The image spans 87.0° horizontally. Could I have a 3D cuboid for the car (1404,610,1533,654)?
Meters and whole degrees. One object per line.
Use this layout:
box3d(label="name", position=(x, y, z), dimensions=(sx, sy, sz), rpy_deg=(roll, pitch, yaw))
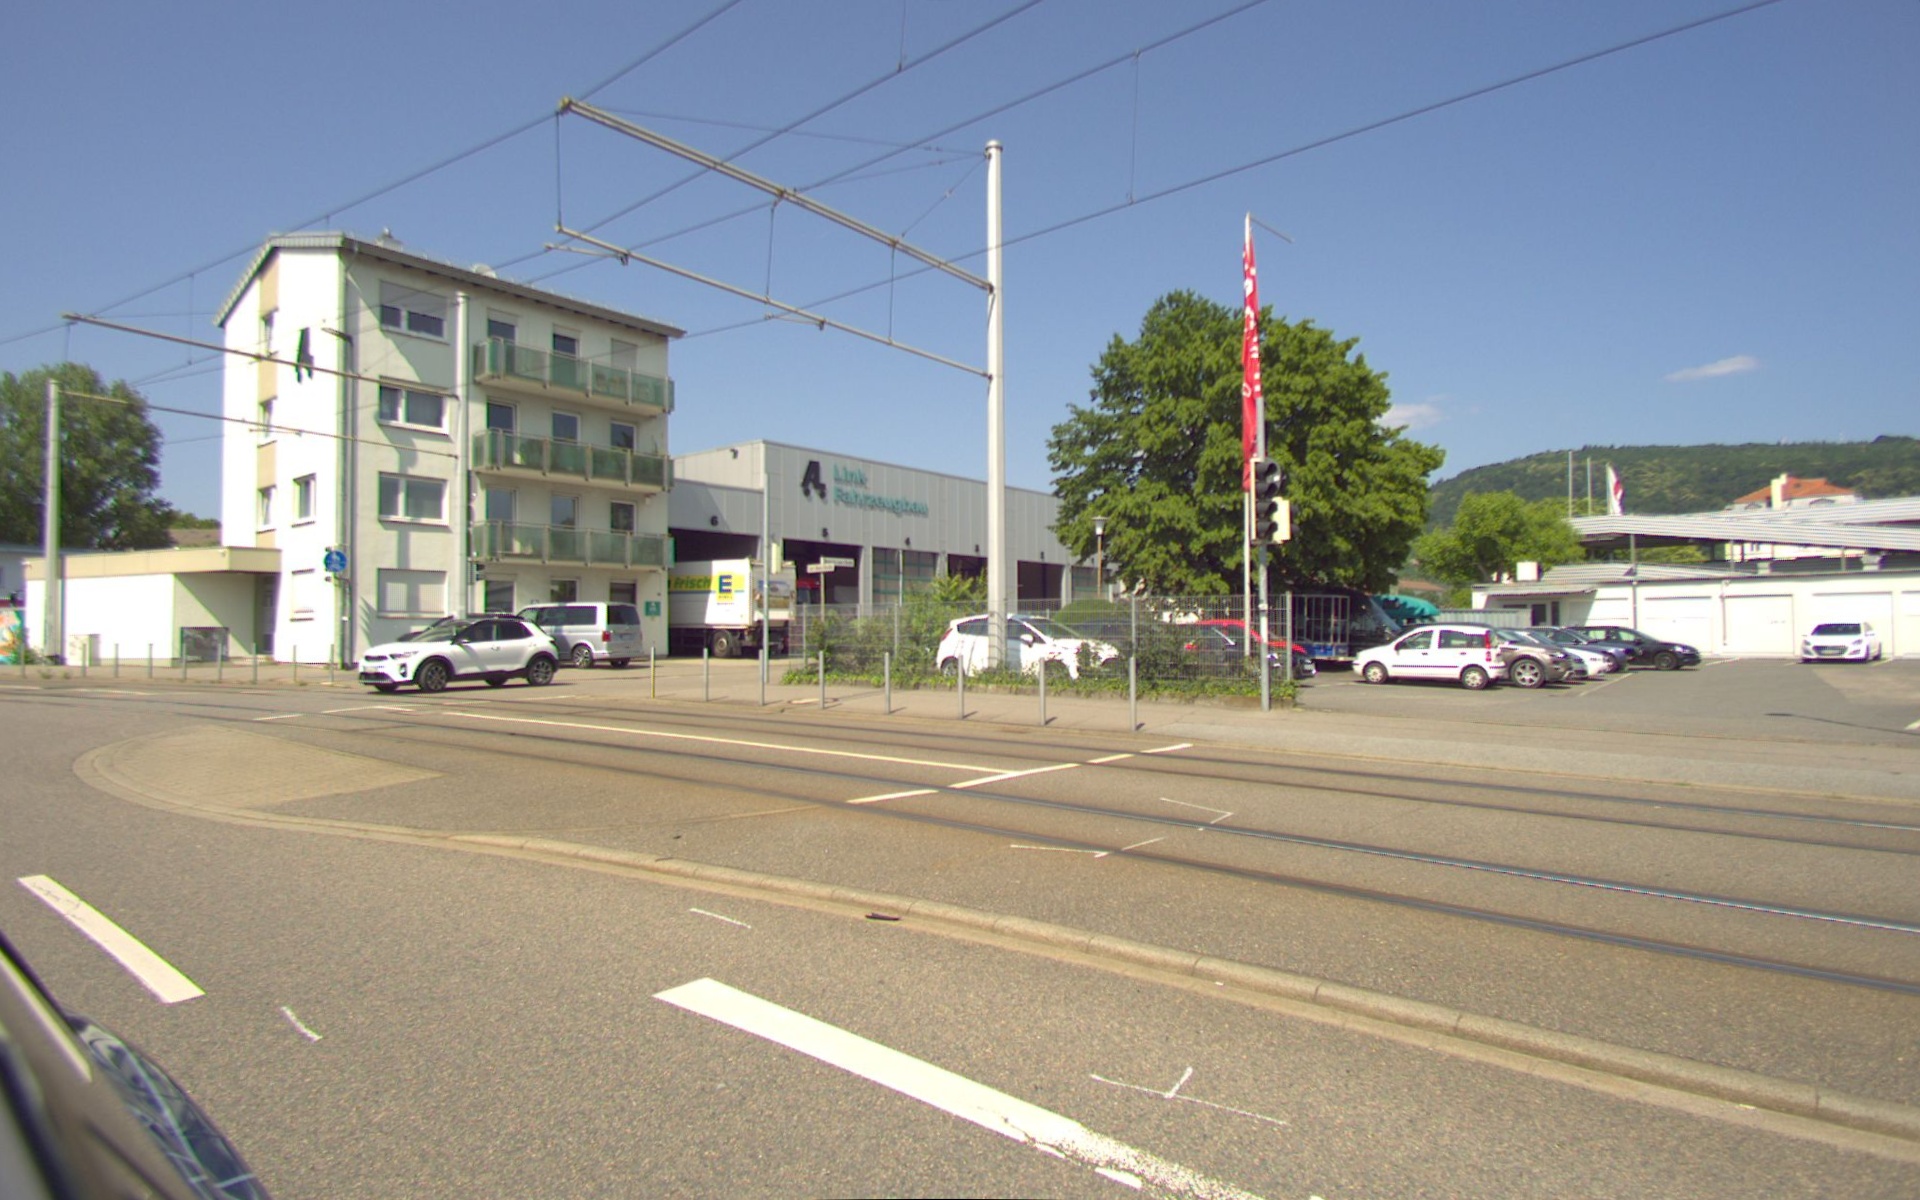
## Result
box3d(label="car", position=(19.256, 1.223, 38.415), dimensions=(3.998, 1.567, 1.973), rpy_deg=(-2, -2, 41))

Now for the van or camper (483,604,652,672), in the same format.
box3d(label="van or camper", position=(-11.778, 1.120, 30.415), dimensions=(4.521, 1.922, 1.987), rpy_deg=(0, -2, 20))

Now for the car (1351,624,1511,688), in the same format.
box3d(label="car", position=(11.802, 1.371, 25.430), dimensions=(3.384, 1.496, 1.498), rpy_deg=(-1, -2, 38))

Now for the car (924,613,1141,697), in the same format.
box3d(label="car", position=(1.315, 0.977, 19.376), dimensions=(3.953, 1.444, 1.689), rpy_deg=(-1, -1, 42))

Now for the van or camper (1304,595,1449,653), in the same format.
box3d(label="van or camper", position=(15.542, 0.929, 37.966), dimensions=(1.969, 2.023, 4.649), rpy_deg=(1, -2, -42))

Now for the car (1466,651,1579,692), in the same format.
box3d(label="car", position=(14.320, 1.797, 25.783), dimensions=(2.315, 0.953, 1.273), rpy_deg=(-2, -2, 39))

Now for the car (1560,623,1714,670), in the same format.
box3d(label="car", position=(23.100, 1.561, 34.618), dimensions=(1.969, 1.523, 4.005), rpy_deg=(1, -2, -42))

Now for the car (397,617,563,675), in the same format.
box3d(label="car", position=(-13.422, 1.278, 28.357), dimensions=(3.936, 1.533, 1.871), rpy_deg=(-1, -2, 15))

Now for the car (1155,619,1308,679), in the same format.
box3d(label="car", position=(7.736, 1.357, 28.987), dimensions=(3.833, 1.605, 1.832), rpy_deg=(-2, -2, 40))

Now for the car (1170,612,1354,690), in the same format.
box3d(label="car", position=(7.018, 1.200, 23.843), dimensions=(1.826, 1.633, 3.846), rpy_deg=(5, -5, -33))

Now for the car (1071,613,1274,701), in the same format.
box3d(label="car", position=(4.373, 1.235, 21.307), dimensions=(1.742, 1.634, 3.841), rpy_deg=(0, -5, -41))

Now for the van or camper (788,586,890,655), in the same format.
box3d(label="van or camper", position=(-6.042, 1.064, 50.163), dimensions=(5.051, 3.230, 1.975), rpy_deg=(-2, -3, 38))

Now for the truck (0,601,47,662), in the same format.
box3d(label="truck", position=(-43.278, 1.374, 44.050), dimensions=(2.178, 2.646, 4.791), rpy_deg=(-1, -2, 26))

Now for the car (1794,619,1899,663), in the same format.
box3d(label="car", position=(30.958, 1.404, 35.324), dimensions=(3.935, 1.427, 2.004), rpy_deg=(1, -2, -37))

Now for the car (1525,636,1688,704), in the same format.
box3d(label="car", position=(21.023, 2.298, 33.020), dimensions=(1.969, 2.029, 4.004), rpy_deg=(0, -4, -42))

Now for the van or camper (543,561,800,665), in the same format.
box3d(label="van or camper", position=(-11.791, 0.381, 40.541), dimensions=(11.600, 3.721, 2.751), rpy_deg=(1, -1, 32))

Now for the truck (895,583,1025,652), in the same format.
box3d(label="truck", position=(-0.097, 1.078, 59.296), dimensions=(7.855, 3.810, 2.589), rpy_deg=(-1, -2, 40))

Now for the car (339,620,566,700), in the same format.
box3d(label="car", position=(-10.725, 1.214, 21.669), dimensions=(1.732, 1.542, 4.064), rpy_deg=(-1, -2, 32))

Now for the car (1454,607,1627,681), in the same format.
box3d(label="car", position=(17.347, 1.343, 30.364), dimensions=(1.969, 2.029, 4.004), rpy_deg=(0, -4, -42))
